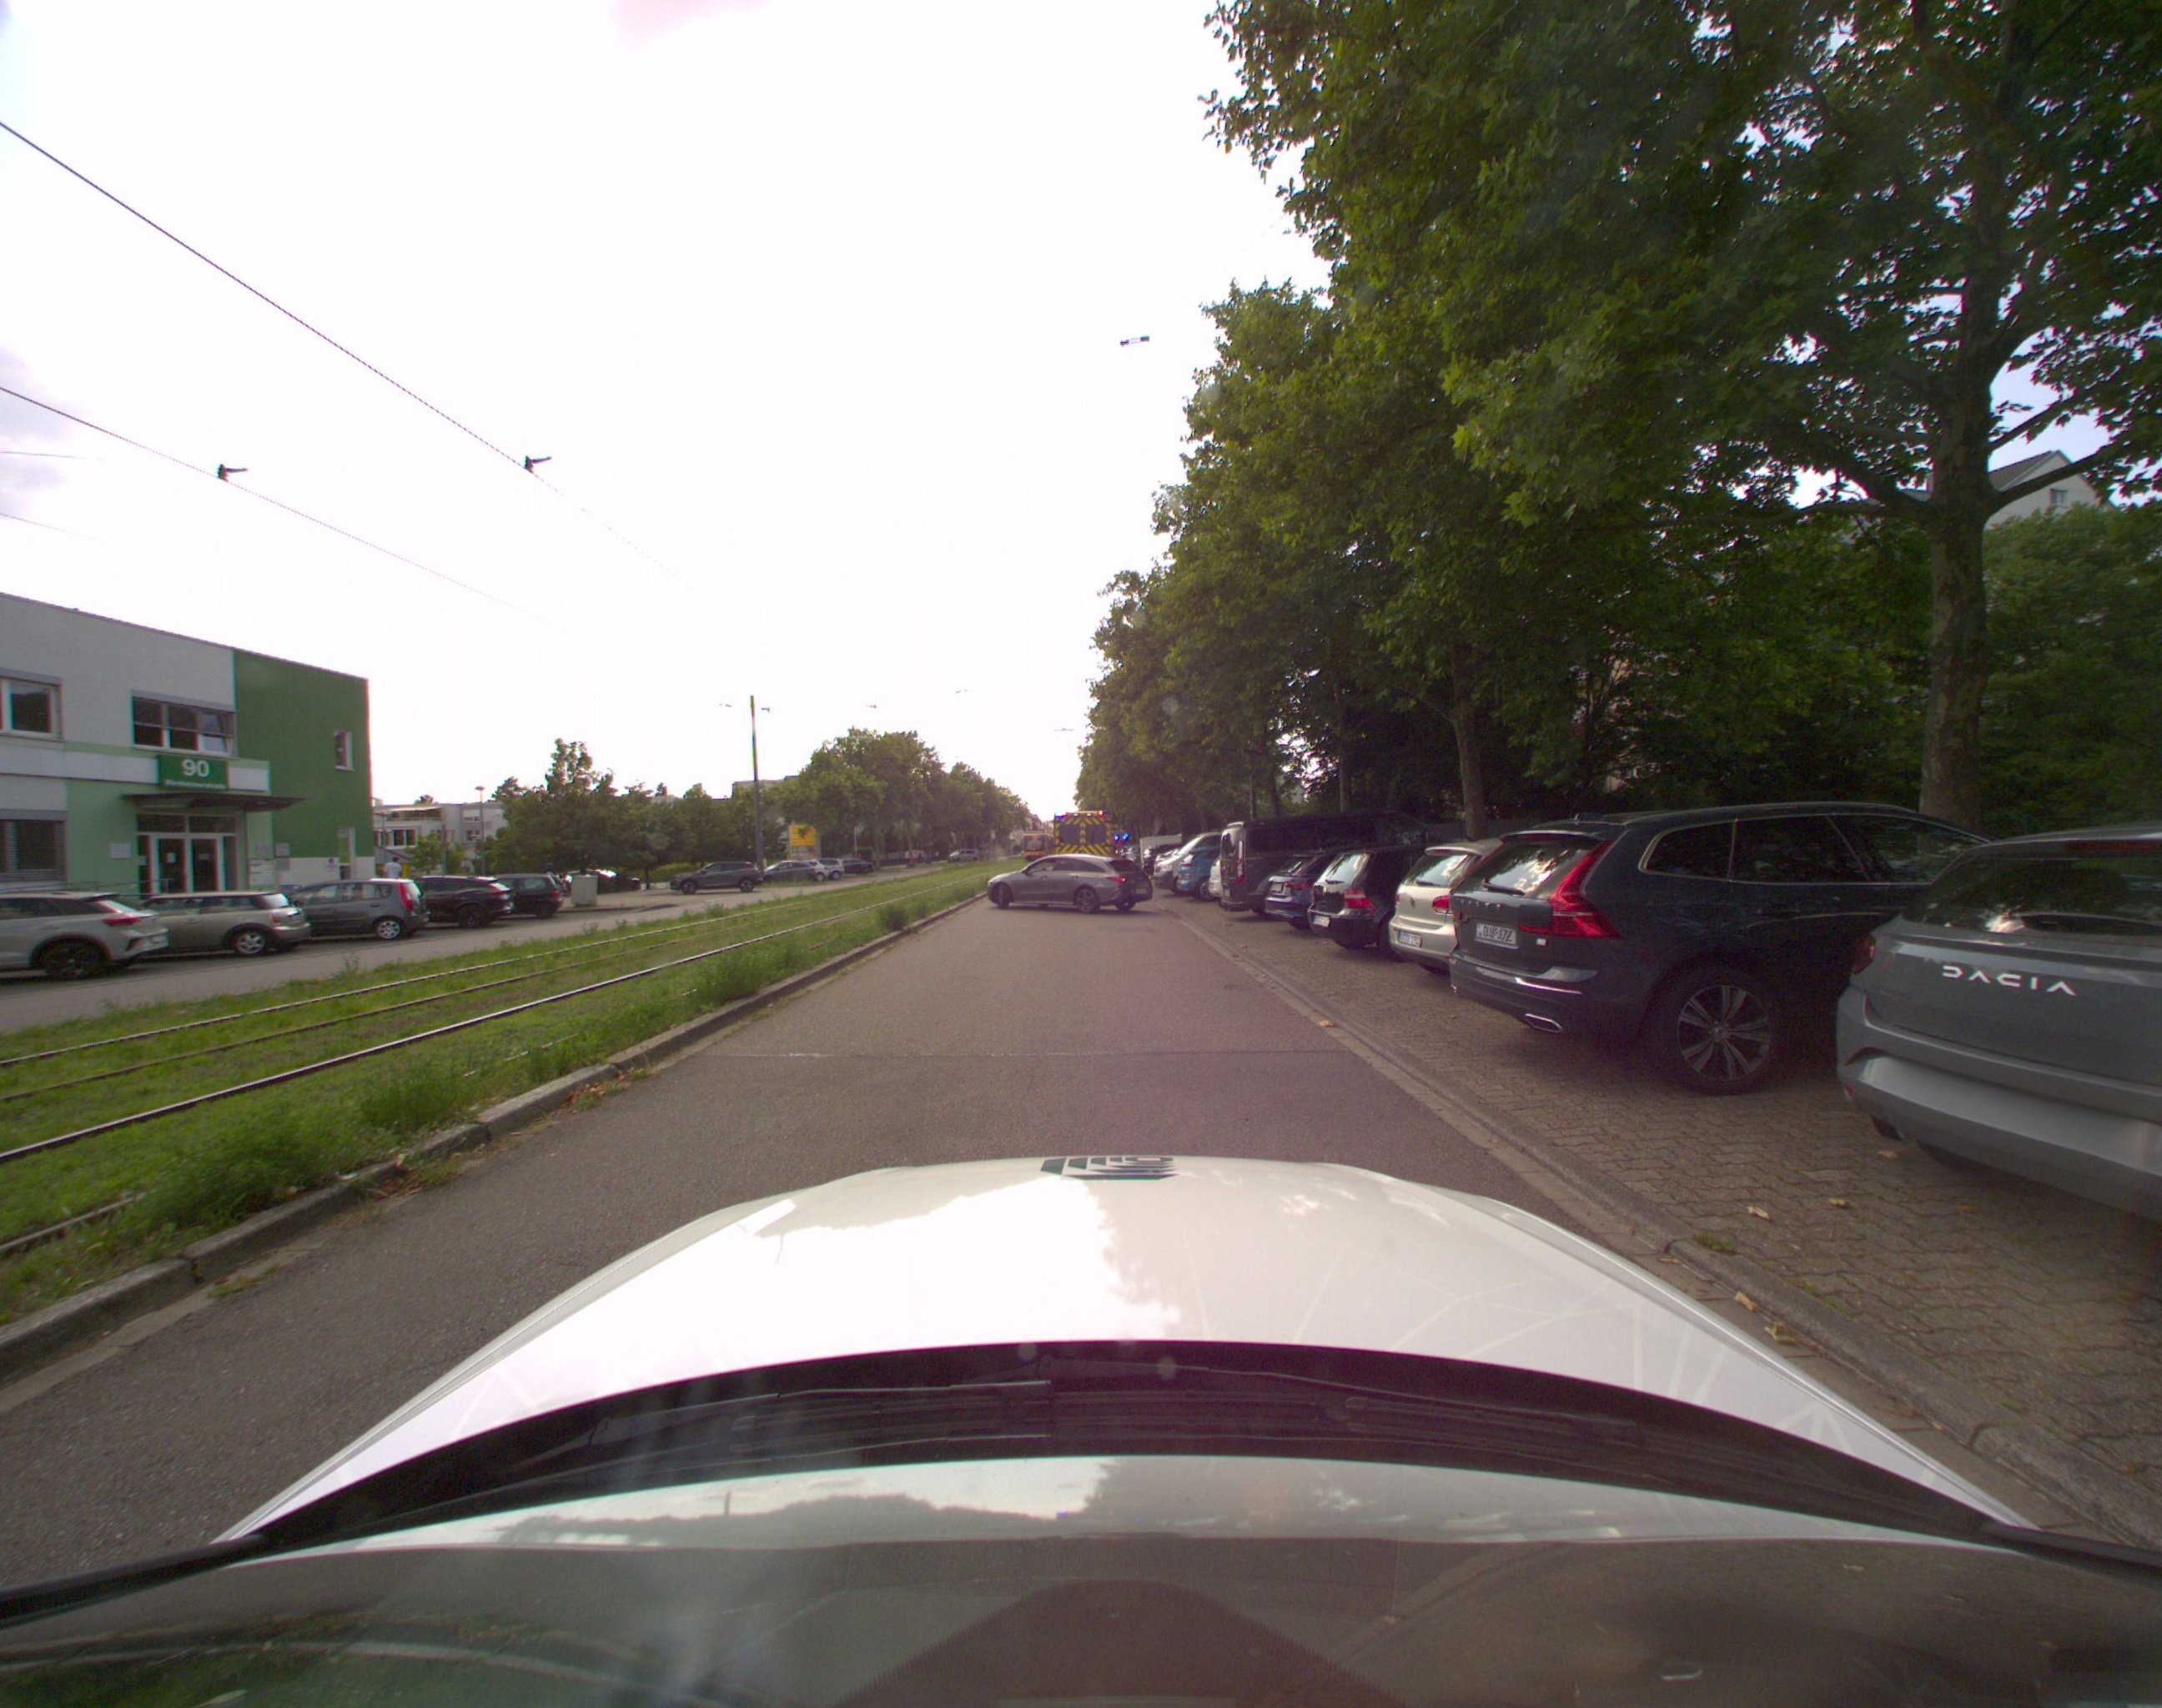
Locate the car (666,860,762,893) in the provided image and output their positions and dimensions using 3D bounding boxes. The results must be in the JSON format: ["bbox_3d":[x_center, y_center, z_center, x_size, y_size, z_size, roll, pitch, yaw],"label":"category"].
[{"bbox_3d":[-18.343,1.081,40.823,4.241,1.482,1.868,-1,0,-25],"label":"car"}]

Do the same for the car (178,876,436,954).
[{"bbox_3d":[-18.954,1.438,20.249,4.247,1.482,1.866,-3,1,-29],"label":"car"}]

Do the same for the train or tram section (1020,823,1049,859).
[{"bbox_3d":[-4.996,-1.340,89.060,2.504,3.584,7.444,-3,0,0],"label":"train or tram section"}]

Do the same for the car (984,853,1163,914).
[{"bbox_3d":[-0.251,0.684,20.911,4.410,1.385,1.778,0,0,36],"label":"car"}]

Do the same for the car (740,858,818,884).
[{"bbox_3d":[-18.865,1.052,50.959,4.253,1.482,1.863,-1,0,-36],"label":"car"}]

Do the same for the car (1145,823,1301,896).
[{"bbox_3d":[4.450,0.170,25.982,4.537,2.000,1.853,-3,0,-4],"label":"car"}]

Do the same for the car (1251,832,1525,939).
[{"bbox_3d":[5.068,0.499,13.832,3.953,1.494,1.756,-3,0,-1],"label":"car"}]

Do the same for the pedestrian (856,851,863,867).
[{"bbox_3d":[-23.125,0.549,85.006,0.465,1.676,0.603,-2,0,-2],"label":"pedestrian"}]

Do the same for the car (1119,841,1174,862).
[{"bbox_3d":[5.650,-0.231,70.619,4.537,1.608,1.853,-3,0,-4],"label":"car"}]

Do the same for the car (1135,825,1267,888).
[{"bbox_3d":[4.434,0.070,30.577,4.537,2.043,1.853,-3,0,-4],"label":"car"}]

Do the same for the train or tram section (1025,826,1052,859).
[{"bbox_3d":[-4.985,-1.305,96.491,2.504,3.584,7.444,-3,0,0],"label":"train or tram section"}]

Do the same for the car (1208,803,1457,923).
[{"bbox_3d":[5.110,0.170,16.973,4.532,2.123,1.855,-3,0,-1],"label":"car"}]

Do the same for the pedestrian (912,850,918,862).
[{"bbox_3d":[-22.958,0.266,112.424,0.631,1.551,0.622,-2,0,-3],"label":"pedestrian"}]

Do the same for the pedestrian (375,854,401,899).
[{"bbox_3d":[-28.243,0.911,33.175,0.544,1.828,0.508,-2,0,-2],"label":"pedestrian"}]

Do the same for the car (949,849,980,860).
[{"bbox_3d":[-18.534,0.044,129.625,4.651,1.633,1.861,-3,1,-39],"label":"car"}]

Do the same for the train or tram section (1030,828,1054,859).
[{"bbox_3d":[-4.965,-1.269,103.936,2.504,3.584,7.444,-3,0,0],"label":"train or tram section"}]

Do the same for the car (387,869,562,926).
[{"bbox_3d":[-19.402,1.342,26.308,4.247,1.482,1.866,-3,1,-29],"label":"car"}]

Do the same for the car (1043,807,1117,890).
[{"bbox_3d":[0.086,-0.221,32.589,2.631,2.966,6.302,1,0,2],"label":"car"}]

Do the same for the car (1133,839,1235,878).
[{"bbox_3d":[4.919,0.204,39.207,4.537,1.608,1.853,-3,0,-4],"label":"car"}]

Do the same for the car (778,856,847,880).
[{"bbox_3d":[-18.730,0.958,56.887,4.253,1.482,1.863,-1,0,-36],"label":"car"}]

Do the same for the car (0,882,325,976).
[{"bbox_3d":[-19.169,1.479,17.234,4.247,1.482,1.866,-3,1,-29],"label":"car"}]

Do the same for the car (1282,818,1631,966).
[{"bbox_3d":[4.983,0.440,11.028,3.967,1.605,1.750,-3,0,-11],"label":"car"}]

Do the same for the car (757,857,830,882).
[{"bbox_3d":[-18.989,0.984,53.845,4.253,1.482,1.863,-1,0,-36],"label":"car"}]

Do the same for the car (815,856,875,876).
[{"bbox_3d":[-18.828,0.930,65.092,4.256,1.482,1.861,-1,0,-39],"label":"car"}]

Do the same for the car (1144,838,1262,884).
[{"bbox_3d":[5.030,0.267,34.051,4.537,1.608,1.853,-3,0,-4],"label":"car"}]

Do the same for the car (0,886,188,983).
[{"bbox_3d":[-19.102,1.458,14.274,4.252,1.482,1.863,-3,1,-34],"label":"car"}]

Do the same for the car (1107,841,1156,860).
[{"bbox_3d":[4.863,-0.319,78.851,4.537,1.608,1.853,-3,0,-4],"label":"car"}]

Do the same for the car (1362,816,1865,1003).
[{"bbox_3d":[5.171,0.498,8.307,3.953,1.494,1.756,-3,0,-1],"label":"car"}]

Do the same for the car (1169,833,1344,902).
[{"bbox_3d":[4.963,0.364,23.448,4.538,1.660,1.853,-3,0,-5],"label":"car"}]

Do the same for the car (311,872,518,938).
[{"bbox_3d":[-18.860,1.384,23.341,4.247,1.482,1.866,-3,1,-29],"label":"car"}]

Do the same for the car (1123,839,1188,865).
[{"bbox_3d":[5.515,-0.149,60.767,4.537,1.608,1.853,-3,0,-4],"label":"car"}]

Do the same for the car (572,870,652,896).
[{"bbox_3d":[-29.394,1.789,51.117,3.970,1.565,1.779,0,0,2],"label":"car"}]

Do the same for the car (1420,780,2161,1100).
[{"bbox_3d":[4.844,0.462,5.471,4.364,1.639,1.757,-3,0,2],"label":"car"}]

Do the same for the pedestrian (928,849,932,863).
[{"bbox_3d":[-18.451,0.255,99.378,0.420,1.730,0.467,-2,0,-4],"label":"pedestrian"}]

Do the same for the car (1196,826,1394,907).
[{"bbox_3d":[5.389,0.296,20.916,4.532,1.766,1.855,-3,0,-1],"label":"car"}]

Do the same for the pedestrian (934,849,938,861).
[{"bbox_3d":[-21.900,0.148,123.251,0.465,1.828,0.422,-2,0,-2],"label":"pedestrian"}]

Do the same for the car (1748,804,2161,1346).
[{"bbox_3d":[5.225,0.520,2.794,4.364,1.501,1.757,-3,1,2],"label":"car"}]

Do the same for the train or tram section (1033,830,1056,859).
[{"bbox_3d":[-4.939,-1.234,111.379,2.504,3.584,7.444,-3,0,0],"label":"train or tram section"}]

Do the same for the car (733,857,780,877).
[{"bbox_3d":[-29.617,1.174,74.423,3.949,1.750,2.013,0,1,31],"label":"car"}]

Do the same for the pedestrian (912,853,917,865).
[{"bbox_3d":[-21.142,0.631,103.350,0.420,1.473,0.467,-2,0,-4],"label":"pedestrian"}]
